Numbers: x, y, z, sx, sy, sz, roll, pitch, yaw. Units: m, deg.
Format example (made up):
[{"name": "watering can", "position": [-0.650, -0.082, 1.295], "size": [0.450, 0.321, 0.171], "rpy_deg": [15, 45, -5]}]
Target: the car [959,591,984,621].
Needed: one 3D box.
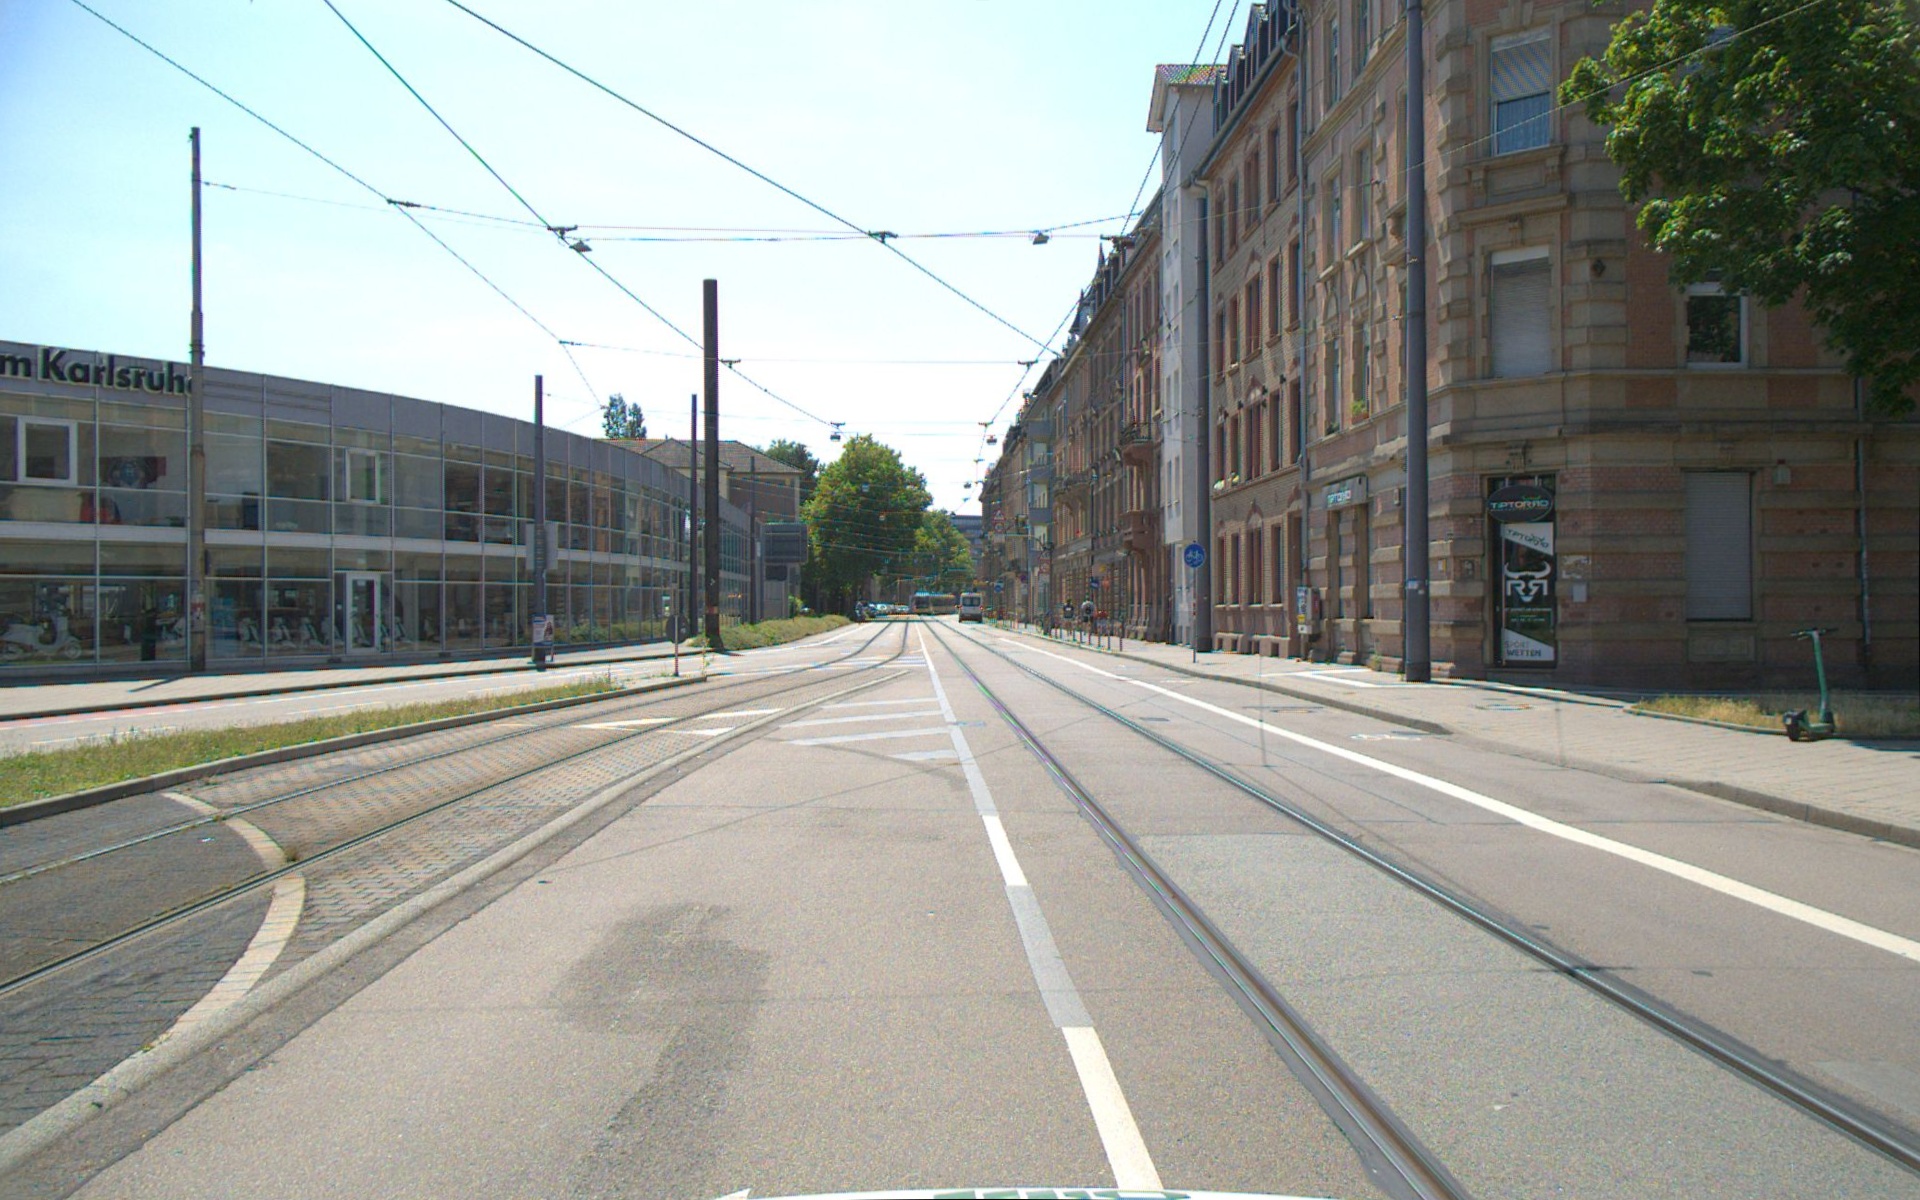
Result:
[{"name": "car", "position": [0.993, 0.551, 145.608], "size": [2.025, 2.545, 5.453], "rpy_deg": [1, 0, -1]}]

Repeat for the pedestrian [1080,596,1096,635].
[{"name": "pedestrian", "position": [6.275, 0.757, 81.055], "size": [0.688, 1.881, 0.643], "rpy_deg": [-1, -1, -1]}]

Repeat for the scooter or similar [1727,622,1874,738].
[{"name": "scooter or similar", "position": [8.979, 0.830, 17.670], "size": [1.504, 1.176, 0.708], "rpy_deg": [0, 0, -31]}]

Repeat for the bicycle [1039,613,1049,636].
[{"name": "bicycle", "position": [4.250, 1.227, 83.806], "size": [0.438, 1.116, 2.424], "rpy_deg": [-1, 0, 4]}]

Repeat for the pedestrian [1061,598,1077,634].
[{"name": "pedestrian", "position": [5.340, 0.772, 81.180], "size": [0.705, 1.750, 0.643], "rpy_deg": [-1, -1, -1]}]

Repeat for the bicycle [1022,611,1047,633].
[{"name": "bicycle", "position": [4.112, 1.212, 91.258], "size": [0.489, 1.150, 2.241], "rpy_deg": [-1, -1, 26]}]
